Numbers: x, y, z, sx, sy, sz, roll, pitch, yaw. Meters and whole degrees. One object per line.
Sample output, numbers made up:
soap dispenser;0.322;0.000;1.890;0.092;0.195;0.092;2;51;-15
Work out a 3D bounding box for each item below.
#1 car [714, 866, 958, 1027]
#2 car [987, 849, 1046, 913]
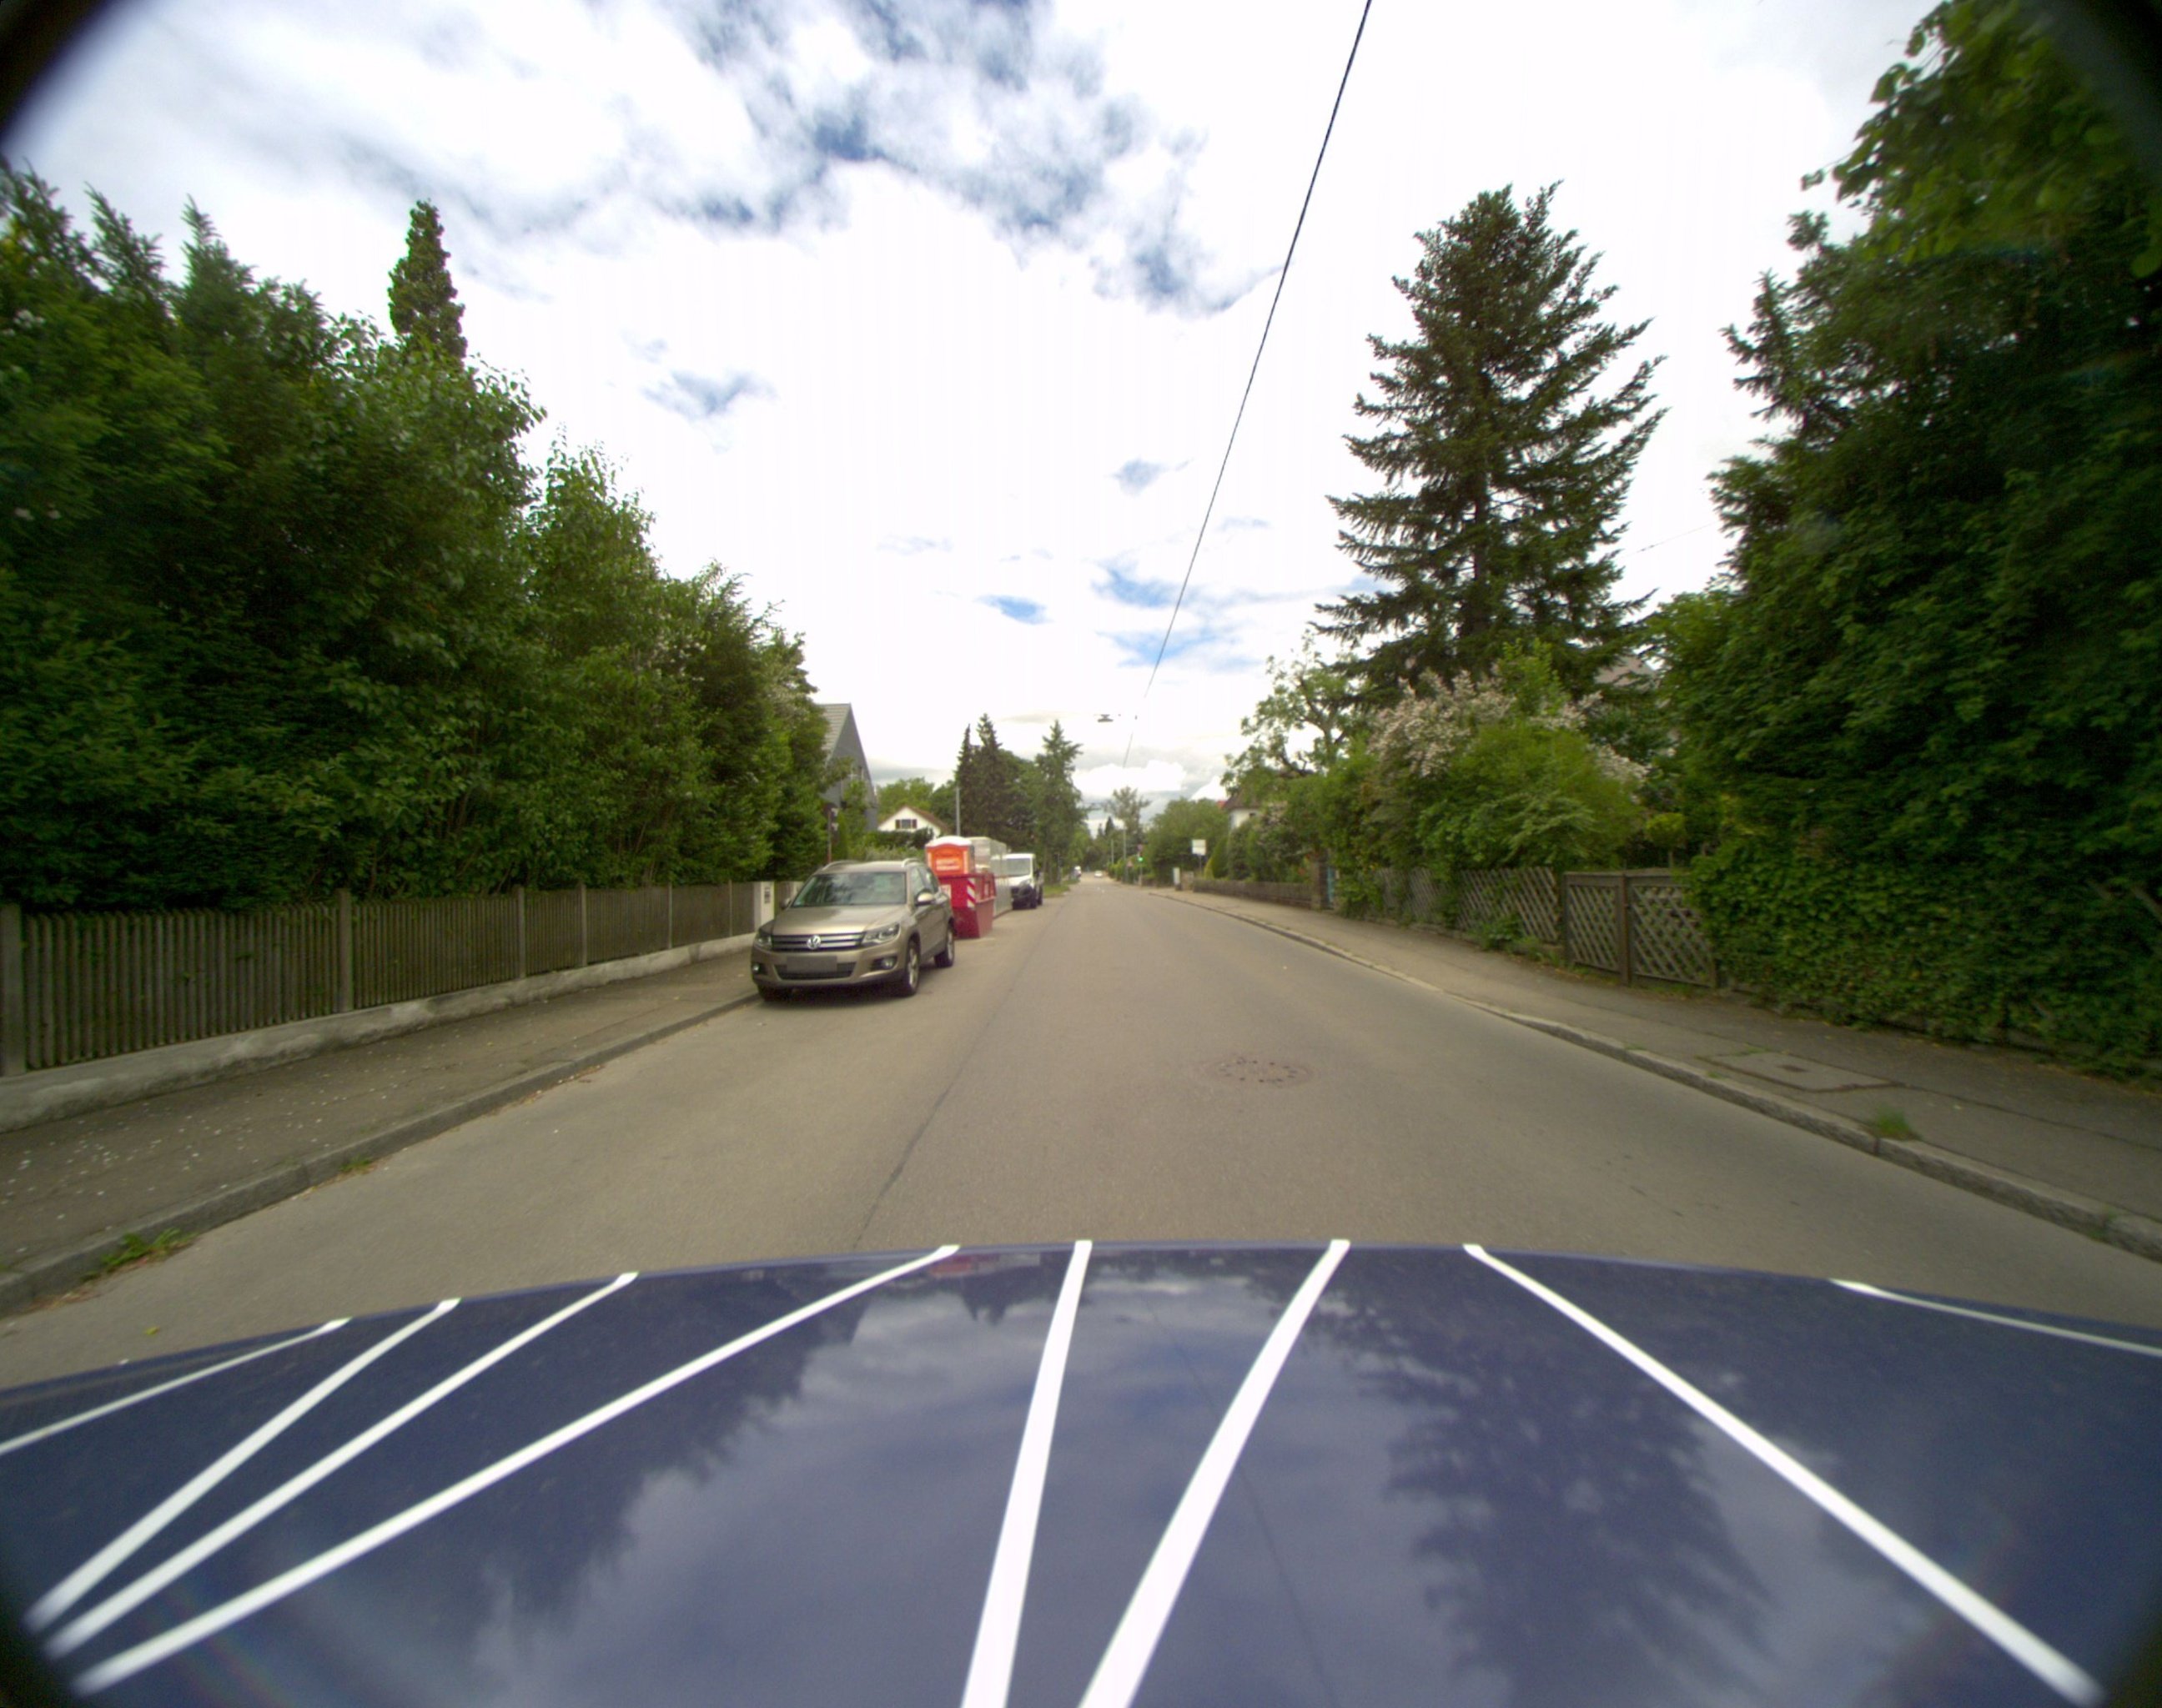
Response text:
car;-2.942;1.021;10.157;1.878;1.622;4.126;-2;-1;0
car;-2.488;0.985;30.569;1.854;2.211;5.367;-4;0;-1
